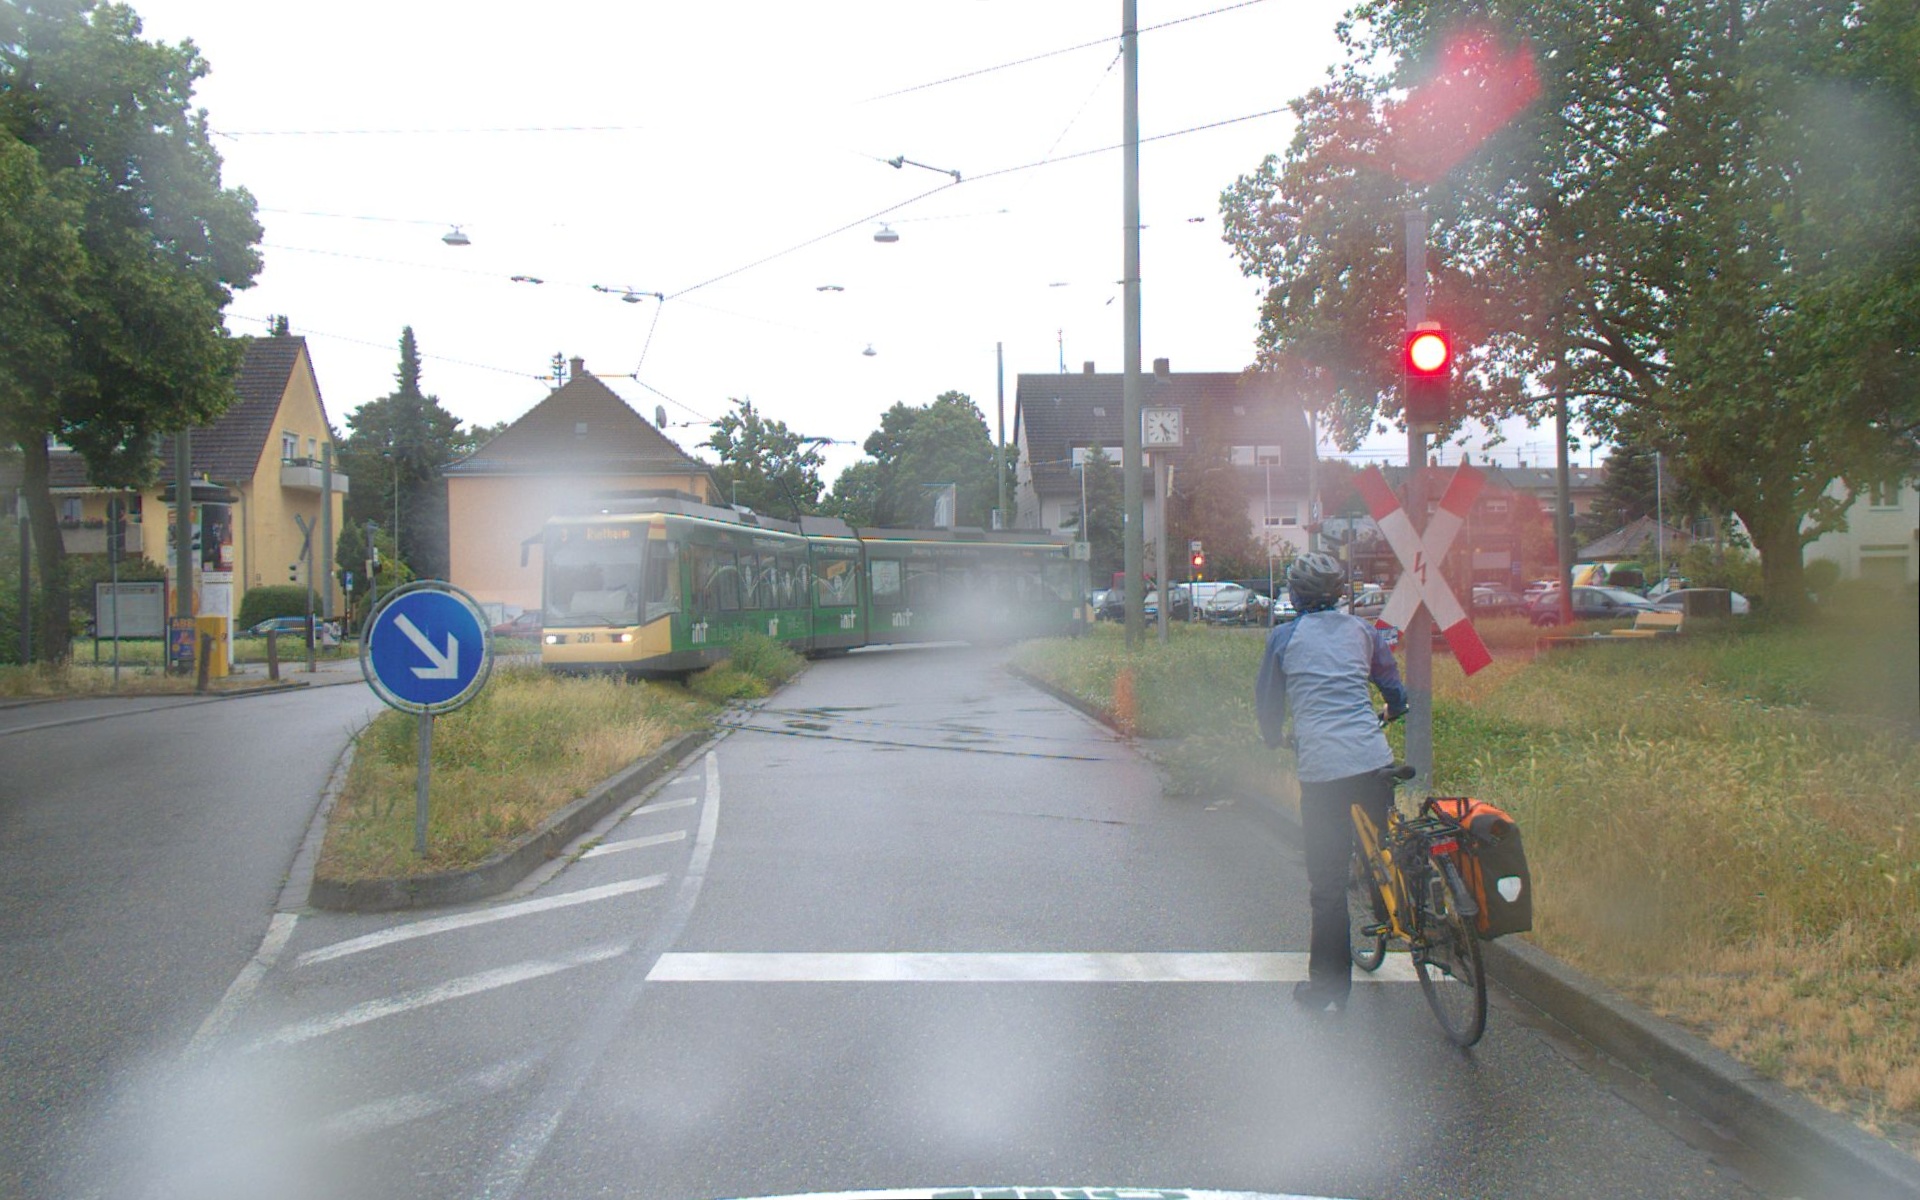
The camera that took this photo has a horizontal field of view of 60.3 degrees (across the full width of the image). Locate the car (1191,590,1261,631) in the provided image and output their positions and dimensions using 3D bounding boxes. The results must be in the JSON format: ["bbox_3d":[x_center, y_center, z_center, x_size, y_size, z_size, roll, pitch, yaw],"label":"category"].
[{"bbox_3d":[11.395,0.463,70.737,1.954,1.668,3.997,1,0,24],"label":"car"}]

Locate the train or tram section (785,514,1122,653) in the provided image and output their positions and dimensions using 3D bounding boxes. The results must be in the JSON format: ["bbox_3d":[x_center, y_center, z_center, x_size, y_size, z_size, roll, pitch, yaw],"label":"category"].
[{"bbox_3d":[0.255,-0.494,49.213,2.714,3.615,13.081,-2,0,36],"label":"train or tram section"}]

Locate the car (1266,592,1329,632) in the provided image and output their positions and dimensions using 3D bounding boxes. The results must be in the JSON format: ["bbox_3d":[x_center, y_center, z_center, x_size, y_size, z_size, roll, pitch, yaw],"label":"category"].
[{"bbox_3d":[14.556,0.520,71.175,1.804,1.668,3.997,1,0,24],"label":"car"}]

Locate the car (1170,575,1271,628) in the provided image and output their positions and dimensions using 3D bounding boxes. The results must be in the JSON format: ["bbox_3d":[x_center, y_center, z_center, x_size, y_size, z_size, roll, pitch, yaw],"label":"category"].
[{"bbox_3d":[12.012,0.068,76.411,4.307,2.365,1.999,1,-1,-3],"label":"car"}]

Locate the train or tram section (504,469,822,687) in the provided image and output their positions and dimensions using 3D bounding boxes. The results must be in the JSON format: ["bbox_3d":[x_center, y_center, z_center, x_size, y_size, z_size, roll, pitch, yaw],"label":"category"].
[{"bbox_3d":[-5.541,-0.367,34.013,2.702,3.615,12.214,-2,0,8],"label":"train or tram section"}]

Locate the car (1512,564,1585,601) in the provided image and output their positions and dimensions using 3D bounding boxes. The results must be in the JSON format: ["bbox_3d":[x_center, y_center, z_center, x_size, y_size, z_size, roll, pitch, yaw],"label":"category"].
[{"bbox_3d":[34.236,-0.979,96.297,1.963,2.049,3.978,1,0,-19],"label":"car"}]

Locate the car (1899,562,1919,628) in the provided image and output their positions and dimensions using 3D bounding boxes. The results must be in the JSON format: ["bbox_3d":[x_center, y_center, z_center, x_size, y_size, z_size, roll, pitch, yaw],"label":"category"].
[{"bbox_3d":[28.135,-0.109,45.527,3.703,1.829,1.798,1,-1,43],"label":"car"}]

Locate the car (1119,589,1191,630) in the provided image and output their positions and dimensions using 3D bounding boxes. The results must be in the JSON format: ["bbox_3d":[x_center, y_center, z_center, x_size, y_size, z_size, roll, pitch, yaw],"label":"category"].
[{"bbox_3d":[8.341,0.408,70.471,1.954,1.668,3.997,1,0,24],"label":"car"}]

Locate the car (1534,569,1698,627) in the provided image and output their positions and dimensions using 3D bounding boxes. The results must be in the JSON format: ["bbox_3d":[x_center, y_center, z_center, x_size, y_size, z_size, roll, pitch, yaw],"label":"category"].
[{"bbox_3d":[18.013,-0.069,45.496,3.848,1.522,1.798,1,-1,43],"label":"car"}]

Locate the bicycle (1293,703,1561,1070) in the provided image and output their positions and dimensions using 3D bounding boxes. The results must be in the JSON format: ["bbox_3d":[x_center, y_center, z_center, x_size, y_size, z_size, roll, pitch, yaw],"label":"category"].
[{"bbox_3d":[1.646,0.956,6.074,0.437,1.022,1.727,-1,1,-2],"label":"bicycle"}]

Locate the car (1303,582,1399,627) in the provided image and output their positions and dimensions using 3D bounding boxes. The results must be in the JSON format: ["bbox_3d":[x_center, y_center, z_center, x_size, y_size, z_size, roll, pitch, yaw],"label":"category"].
[{"bbox_3d":[18.088,0.232,76.540,3.907,1.985,1.999,1,-1,-3],"label":"car"}]

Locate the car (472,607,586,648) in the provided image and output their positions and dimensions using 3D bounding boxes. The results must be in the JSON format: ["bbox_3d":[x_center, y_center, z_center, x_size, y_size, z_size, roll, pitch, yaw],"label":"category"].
[{"bbox_3d":[-16.190,1.023,62.327,3.911,1.482,1.831,1,0,-7],"label":"car"}]

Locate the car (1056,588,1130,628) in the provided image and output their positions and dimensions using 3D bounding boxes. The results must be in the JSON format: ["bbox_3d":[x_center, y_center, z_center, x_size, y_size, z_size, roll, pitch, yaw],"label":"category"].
[{"bbox_3d":[5.797,0.371,71.601,1.954,1.668,3.997,1,0,24],"label":"car"}]

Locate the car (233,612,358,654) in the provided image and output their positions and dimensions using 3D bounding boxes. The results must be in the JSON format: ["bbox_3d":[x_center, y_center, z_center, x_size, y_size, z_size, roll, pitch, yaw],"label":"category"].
[{"bbox_3d":[-24.445,1.206,60.956,3.911,1.482,1.831,1,0,-7],"label":"car"}]

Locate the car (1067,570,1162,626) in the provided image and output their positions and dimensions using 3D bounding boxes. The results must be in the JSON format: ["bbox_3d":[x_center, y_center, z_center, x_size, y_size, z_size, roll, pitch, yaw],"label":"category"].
[{"bbox_3d":[7.474,-0.112,79.909,4.301,2.610,2.001,1,-1,14],"label":"car"}]

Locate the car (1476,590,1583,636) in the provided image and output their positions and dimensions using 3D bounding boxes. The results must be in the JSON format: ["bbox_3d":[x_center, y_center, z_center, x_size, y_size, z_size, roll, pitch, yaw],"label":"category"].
[{"bbox_3d":[22.606,0.512,65.740,3.609,1.731,1.890,1,0,0],"label":"car"}]

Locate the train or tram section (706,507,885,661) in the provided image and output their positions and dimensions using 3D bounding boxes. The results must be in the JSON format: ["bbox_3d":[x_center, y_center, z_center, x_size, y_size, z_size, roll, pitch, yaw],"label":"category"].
[{"bbox_3d":[-4.085,-0.384,42.151,2.702,3.615,4.991,-2,0,17],"label":"train or tram section"}]

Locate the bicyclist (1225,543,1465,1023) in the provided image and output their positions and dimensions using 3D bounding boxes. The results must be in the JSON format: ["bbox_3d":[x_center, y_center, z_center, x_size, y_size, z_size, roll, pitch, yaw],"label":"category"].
[{"bbox_3d":[1.405,0.637,6.160,0.653,1.654,0.852,1,-1,-2],"label":"bicyclist"}]

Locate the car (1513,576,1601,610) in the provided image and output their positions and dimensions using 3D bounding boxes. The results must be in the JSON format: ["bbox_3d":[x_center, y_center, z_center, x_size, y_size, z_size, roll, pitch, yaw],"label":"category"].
[{"bbox_3d":[31.060,-0.354,86.072,3.905,1.668,1.846,1,0,-1],"label":"car"}]

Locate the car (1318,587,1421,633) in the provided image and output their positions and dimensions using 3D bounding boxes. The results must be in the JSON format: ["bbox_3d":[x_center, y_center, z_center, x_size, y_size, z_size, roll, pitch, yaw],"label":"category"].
[{"bbox_3d":[16.148,0.398,65.340,3.609,1.731,1.890,1,0,0],"label":"car"}]

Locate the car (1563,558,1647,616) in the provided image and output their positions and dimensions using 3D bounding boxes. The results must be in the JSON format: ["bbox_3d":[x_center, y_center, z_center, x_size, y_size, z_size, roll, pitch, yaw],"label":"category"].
[{"bbox_3d":[28.820,-0.561,74.025,1.953,2.485,4.352,1,0,-2],"label":"car"}]

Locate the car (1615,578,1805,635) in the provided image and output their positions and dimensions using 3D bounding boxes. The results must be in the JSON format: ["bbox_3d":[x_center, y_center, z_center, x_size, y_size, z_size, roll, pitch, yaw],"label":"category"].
[{"bbox_3d":[18.465,0.155,40.859,3.902,1.308,1.847,1,0,6],"label":"car"}]
